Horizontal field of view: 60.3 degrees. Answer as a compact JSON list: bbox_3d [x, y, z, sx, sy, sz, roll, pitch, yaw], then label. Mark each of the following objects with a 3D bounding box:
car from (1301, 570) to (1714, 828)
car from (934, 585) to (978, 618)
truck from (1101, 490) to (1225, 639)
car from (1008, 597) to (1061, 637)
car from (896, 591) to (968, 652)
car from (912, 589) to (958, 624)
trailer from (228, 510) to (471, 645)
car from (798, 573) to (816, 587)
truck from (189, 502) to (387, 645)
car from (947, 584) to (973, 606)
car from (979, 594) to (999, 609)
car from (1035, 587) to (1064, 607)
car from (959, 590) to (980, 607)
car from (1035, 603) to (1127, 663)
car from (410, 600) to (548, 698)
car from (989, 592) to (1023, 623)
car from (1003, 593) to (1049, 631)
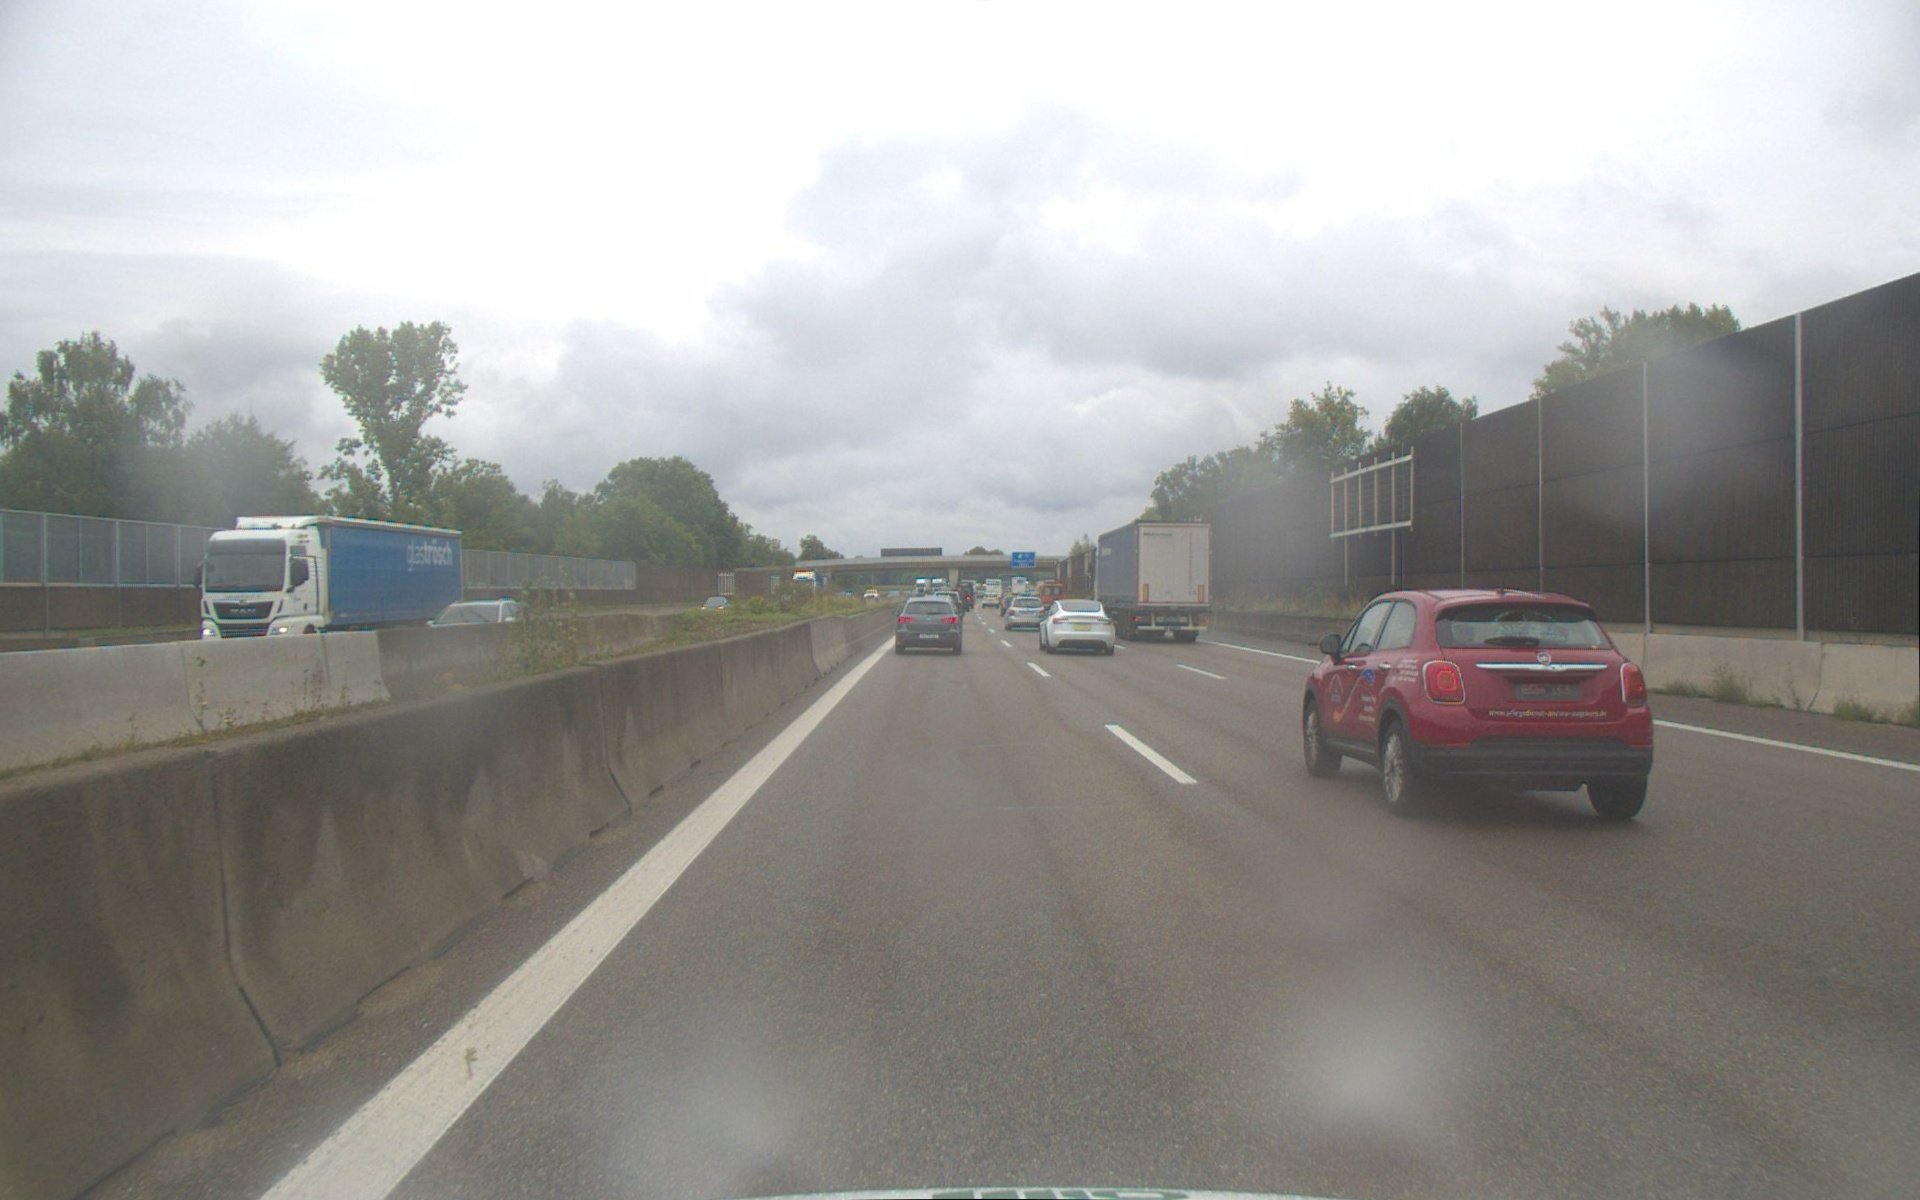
[{"bbox_3d":[4.007,0.657,12.863,1.917,1.676,4.000,1,0,0],"label":"car"},{"bbox_3d":[-0.225,0.049,83.781,1.954,1.612,3.997,-1,1,-4],"label":"car"},{"bbox_3d":[6.994,-1.173,58.108,2.984,4.817,7.675,1,0,-3],"label":"truck"},{"bbox_3d":[3.024,0.670,68.072,1.953,1.545,3.999,1,0,-1],"label":"car"},{"bbox_3d":[-0.769,0.524,42.981,1.728,1.478,3.998,1,0,-3],"label":"car"},{"bbox_3d":[-1.078,0.258,69.072,1.746,1.431,3.624,1,0,-4],"label":"car"},{"bbox_3d":[-19.353,-0.642,53.868,2.932,3.756,14.053,1,0,-1],"label":"trailer"},{"bbox_3d":[-17.745,-2.319,191.620,1.955,1.545,3.995,1,0,-6],"label":"car"},{"bbox_3d":[-19.149,-0.722,47.658,2.932,3.756,6.879,1,0,-1],"label":"truck"},{"bbox_3d":[-0.010,-0.410,139.549,1.954,1.847,3.998,1,0,-3],"label":"car"},{"bbox_3d":[3.078,0.144,174.438,1.953,1.545,3.999,1,0,-2],"label":"car"},{"bbox_3d":[7.176,-0.247,132.471,1.953,1.545,3.999,1,0,-2],"label":"car"},{"bbox_3d":[0.941,-0.116,165.590,1.953,1.652,3.999,1,0,-1],"label":"car"},{"bbox_3d":[3.220,0.847,44.801,1.954,1.512,3.997,1,0,-4],"label":"car"},{"bbox_3d":[-10.744,1.043,37.234,1.953,2.049,3.999,1,0,-1],"label":"car"},{"bbox_3d":[3.163,0.499,114.586,1.954,2.049,3.998,1,0,-3],"label":"car"},{"bbox_3d":[2.838,0.502,72.026,1.668,1.570,3.836,1,0,-3],"label":"car"}]
